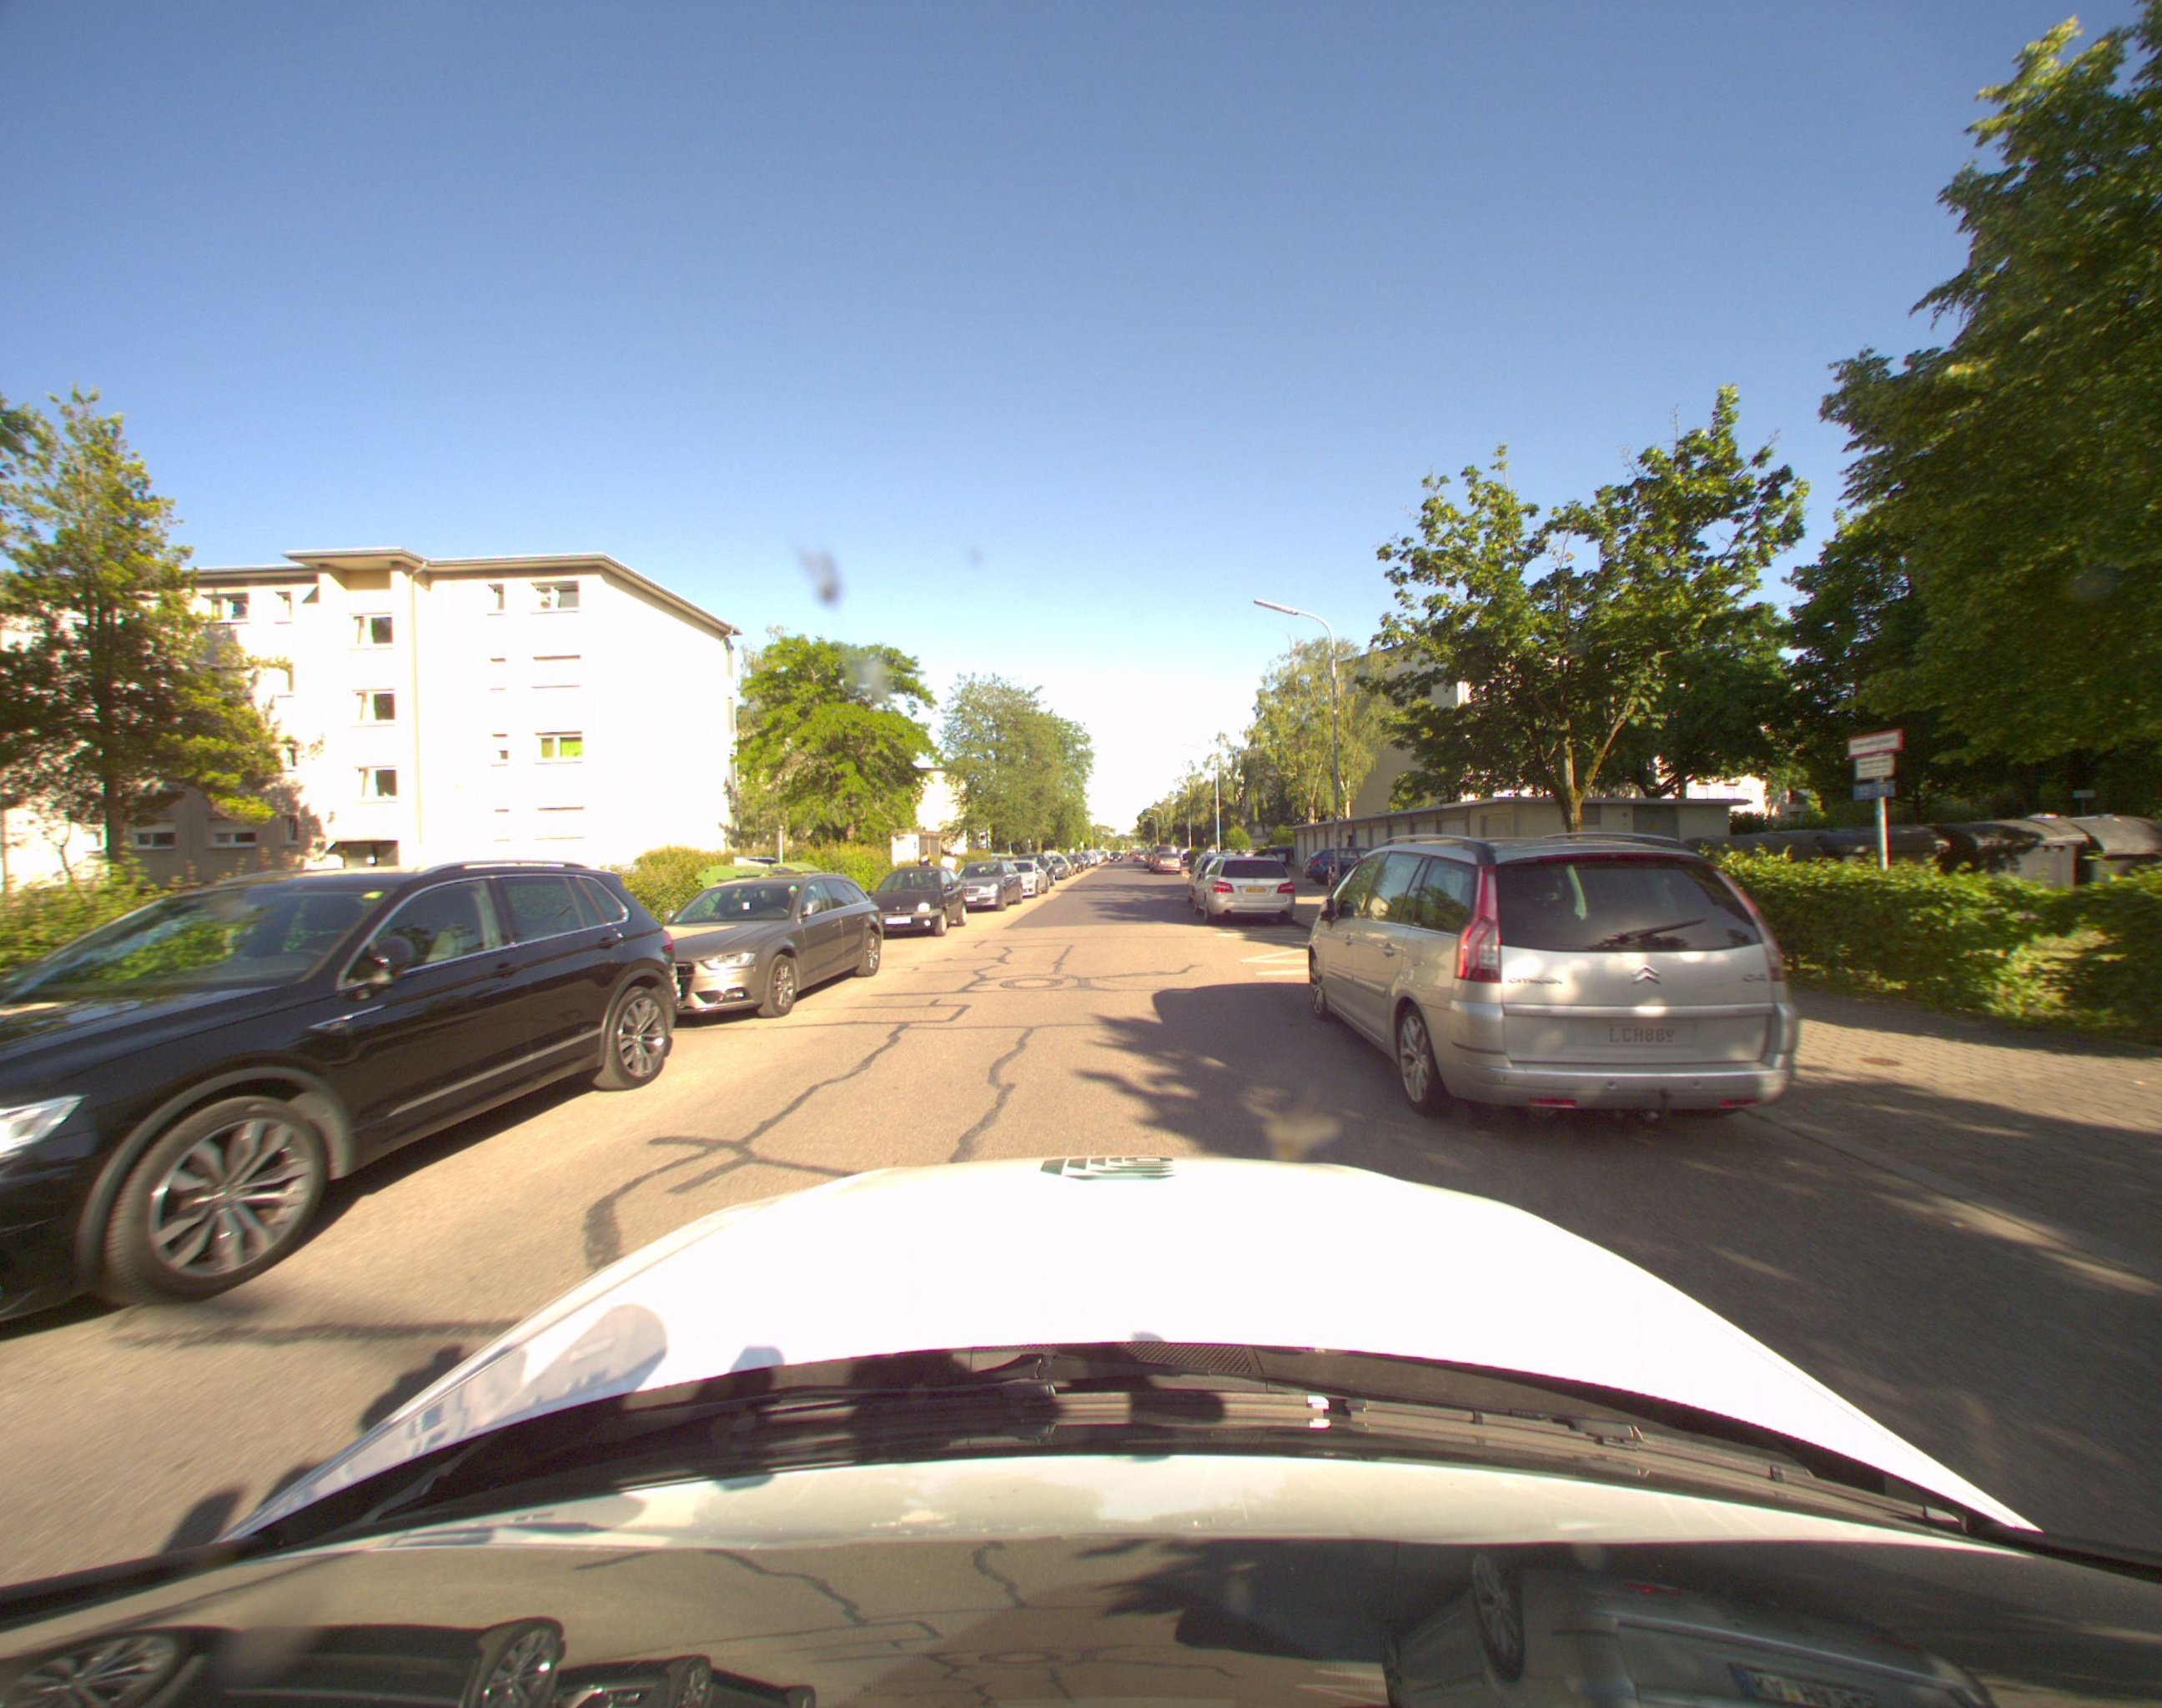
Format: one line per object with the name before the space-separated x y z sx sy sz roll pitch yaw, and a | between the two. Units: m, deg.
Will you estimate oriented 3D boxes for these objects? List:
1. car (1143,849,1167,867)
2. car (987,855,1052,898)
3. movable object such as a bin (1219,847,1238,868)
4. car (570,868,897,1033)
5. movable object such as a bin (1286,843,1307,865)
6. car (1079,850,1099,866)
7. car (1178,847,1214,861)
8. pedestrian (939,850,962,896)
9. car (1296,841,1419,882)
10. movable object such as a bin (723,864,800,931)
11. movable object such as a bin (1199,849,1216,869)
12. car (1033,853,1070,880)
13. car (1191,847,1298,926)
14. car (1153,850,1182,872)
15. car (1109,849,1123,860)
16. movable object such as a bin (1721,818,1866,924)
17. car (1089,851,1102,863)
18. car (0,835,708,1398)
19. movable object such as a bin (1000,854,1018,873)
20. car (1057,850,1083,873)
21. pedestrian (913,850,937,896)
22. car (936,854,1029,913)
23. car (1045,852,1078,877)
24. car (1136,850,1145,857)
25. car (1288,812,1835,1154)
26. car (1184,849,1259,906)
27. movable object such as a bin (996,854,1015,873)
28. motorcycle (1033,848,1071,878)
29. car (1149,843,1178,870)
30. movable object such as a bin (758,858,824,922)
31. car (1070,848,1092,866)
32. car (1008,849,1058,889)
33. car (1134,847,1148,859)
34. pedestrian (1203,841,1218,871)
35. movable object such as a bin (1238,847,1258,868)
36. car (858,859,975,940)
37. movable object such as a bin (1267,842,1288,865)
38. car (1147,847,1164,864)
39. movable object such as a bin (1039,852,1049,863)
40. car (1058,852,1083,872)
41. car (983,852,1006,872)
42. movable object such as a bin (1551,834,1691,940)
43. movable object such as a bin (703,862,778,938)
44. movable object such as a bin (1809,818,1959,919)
car | 6.521 0.312 72.453 1.726 1.490 4.501 -2 0 1
car | -2.267 0.805 31.100 1.746 1.425 4.216 -4 -1 5
movable object such as a bin | 10.315 0.241 56.997 1.217 1.365 1.135 -2 0 6
car | -3.747 0.933 9.862 1.747 1.385 4.677 -3 0 2
movable object such as a bin | 15.123 0.003 57.140 1.269 1.465 1.135 -2 4 6
car | 0.870 0.402 89.097 1.895 1.639 4.352 -3 0 3
car | 14.749 -0.020 104.732 4.396 1.513 1.830 -2 0 3
pedestrian | -4.794 0.688 29.959 0.717 1.679 0.617 -1 0 3
car | 10.687 0.284 31.658 4.169 1.494 1.818 -1 0 0
movable object such as a bin | -6.933 0.927 17.729 1.115 1.366 1.257 1 0 1
movable object such as a bin | 9.024 0.359 57.997 1.019 1.310 1.392 -5 0 13
car | -1.690 0.704 48.107 1.747 1.421 4.272 -4 0 3
car | 3.602 0.639 18.670 1.822 1.546 4.646 -1 0 4
car | 5.734 0.441 54.133 1.793 1.419 4.642 -1 0 5
car | 5.164 0.076 119.886 1.903 1.476 4.574 -2 0 3
movable object such as a bin | 10.874 0.246 12.476 1.321 1.537 1.028 -1 0 -3
car | 2.011 0.439 111.412 1.680 1.505 3.819 -2 0 1
car | -4.031 0.805 4.438 1.747 1.668 4.393 -3 0 2
movable object such as a bin | -5.303 0.688 60.089 1.172 1.408 1.344 -1 0 3
car | -0.804 0.530 61.860 1.748 1.574 3.721 -4 0 2
pedestrian | -5.864 0.707 30.565 0.717 1.679 0.600 -1 0 3
car | -2.892 0.831 24.984 1.746 1.490 4.907 -4 -1 5
car | -1.288 0.670 55.303 1.746 1.481 3.964 -4 0 5
car | 13.242 -0.139 180.275 1.789 1.561 3.952 -1 0 1
car | 2.864 0.613 6.161 1.746 1.627 4.500 -1 0 4
car | 4.036 0.619 23.879 1.796 1.494 3.800 -1 0 4
movable object such as a bin | -5.430 0.687 58.675 1.172 1.288 1.344 -1 0 3
motorcycle | -1.809 0.552 51.673 2.249 1.726 0.932 -4 0 0
car | 5.977 0.166 59.692 1.845 1.934 4.707 0 0 2
movable object such as a bin | -6.754 0.817 19.029 0.998 1.415 1.327 1 0 1
car | 0.032 0.295 78.544 1.746 1.606 3.973 -4 0 4
car | -2.138 0.652 37.572 1.747 1.635 4.374 -4 0 3
car | 8.015 -0.171 108.898 1.674 1.513 4.104 0 0 1
pedestrian | 8.251 0.136 51.907 0.700 1.888 0.873 -4 0 4
movable object such as a bin | 11.576 0.229 56.549 1.269 1.365 1.135 -2 0 6
car | -3.463 0.913 17.774 1.642 1.464 3.498 -3 0 2
movable object such as a bin | 13.780 -0.028 57.235 1.269 1.465 1.135 -2 4 6
car | 7.271 0.137 79.595 1.483 1.718 2.585 0 0 2
movable object such as a bin | -4.929 0.423 109.204 1.129 1.420 1.362 1 0 4
car | -0.846 0.619 66.560 1.747 1.481 4.539 -4 0 2
car | -7.609 0.677 71.872 1.565 1.641 4.001 -1 0 1
movable object such as a bin | 8.098 0.471 12.278 1.321 1.428 1.069 -4 0 -3
movable object such as a bin | -6.828 0.896 16.418 0.891 1.415 1.327 1 0 1
movable object such as a bin | 12.447 0.209 12.667 1.319 1.481 1.028 -1 0 -3
